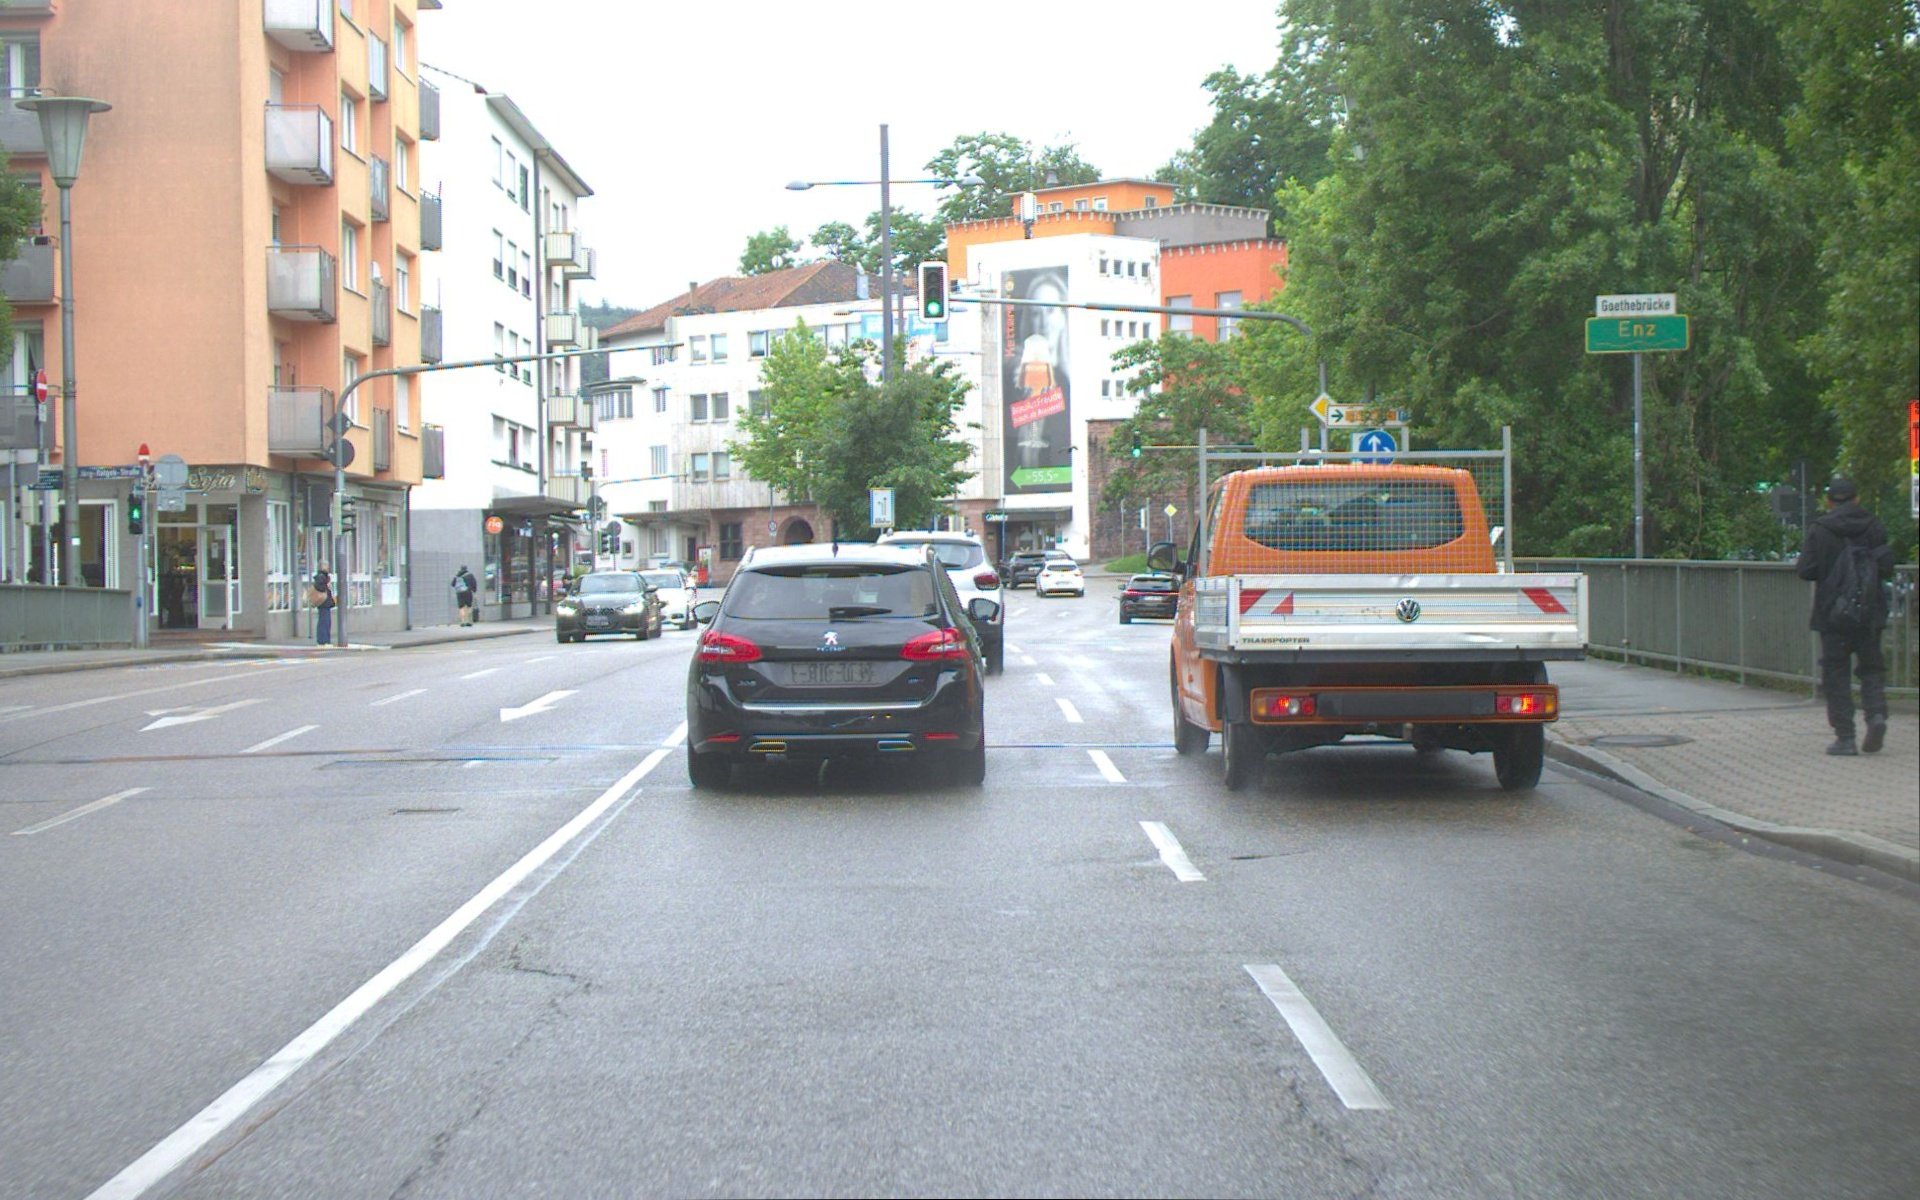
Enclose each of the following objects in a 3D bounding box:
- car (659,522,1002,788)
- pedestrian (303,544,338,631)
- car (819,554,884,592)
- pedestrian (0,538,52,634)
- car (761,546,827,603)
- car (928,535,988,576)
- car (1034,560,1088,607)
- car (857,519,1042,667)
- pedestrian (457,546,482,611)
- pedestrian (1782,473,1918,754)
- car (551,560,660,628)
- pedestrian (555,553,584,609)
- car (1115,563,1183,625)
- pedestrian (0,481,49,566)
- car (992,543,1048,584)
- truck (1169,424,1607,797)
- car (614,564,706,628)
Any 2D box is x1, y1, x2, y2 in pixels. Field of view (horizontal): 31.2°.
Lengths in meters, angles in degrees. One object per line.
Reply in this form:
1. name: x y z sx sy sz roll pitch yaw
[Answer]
1. car: -0.715 0.318 21.546 1.795 1.478 4.000 1 0 3
2. pedestrian: -12.722 -0.248 68.398 0.530 1.721 0.648 -1 0 4
3. car: -4.912 -1.200 155.244 1.644 1.559 3.600 3 -2 -25
4. pedestrian: -16.534 -0.234 60.626 0.798 1.657 0.620 -3 -2 35
5. car: -4.901 -0.750 101.849 1.736 1.596 3.919 -2 1 0
6. car: -0.114 -1.895 147.328 1.993 1.678 4.001 -1 1 -8
7. car: 3.999 -0.656 136.405 1.993 1.815 4.000 0 1 0
8. car: -0.062 -0.082 36.819 1.795 1.478 4.000 -1 0 2
9. pedestrian: -13.983 -0.609 98.011 0.639 1.854 0.524 0 1 -2
10. pedestrian: 5.369 0.069 20.757 0.639 1.658 0.563 -2 2 -1
11. car: -7.179 -0.141 69.970 1.791 1.320 4.407 -1 1 -1
12. pedestrian: -14.125 -0.686 124.303 0.726 2.007 0.657 3 -2 -33
13. car: 5.311 -0.151 96.887 1.645 1.559 3.600 2 -2 0
14. pedestrian: -16.339 -1.327 59.868 0.652 1.440 0.799 -2 -2 5
15. car: 2.537 -1.526 146.296 1.644 1.559 3.601 3 -2 -10
16. truck: 2.483 0.006 21.162 2.122 2.018 4.716 0 1 0
17. car: -7.402 -0.128 85.206 1.836 1.504 4.821 -1 1 0
